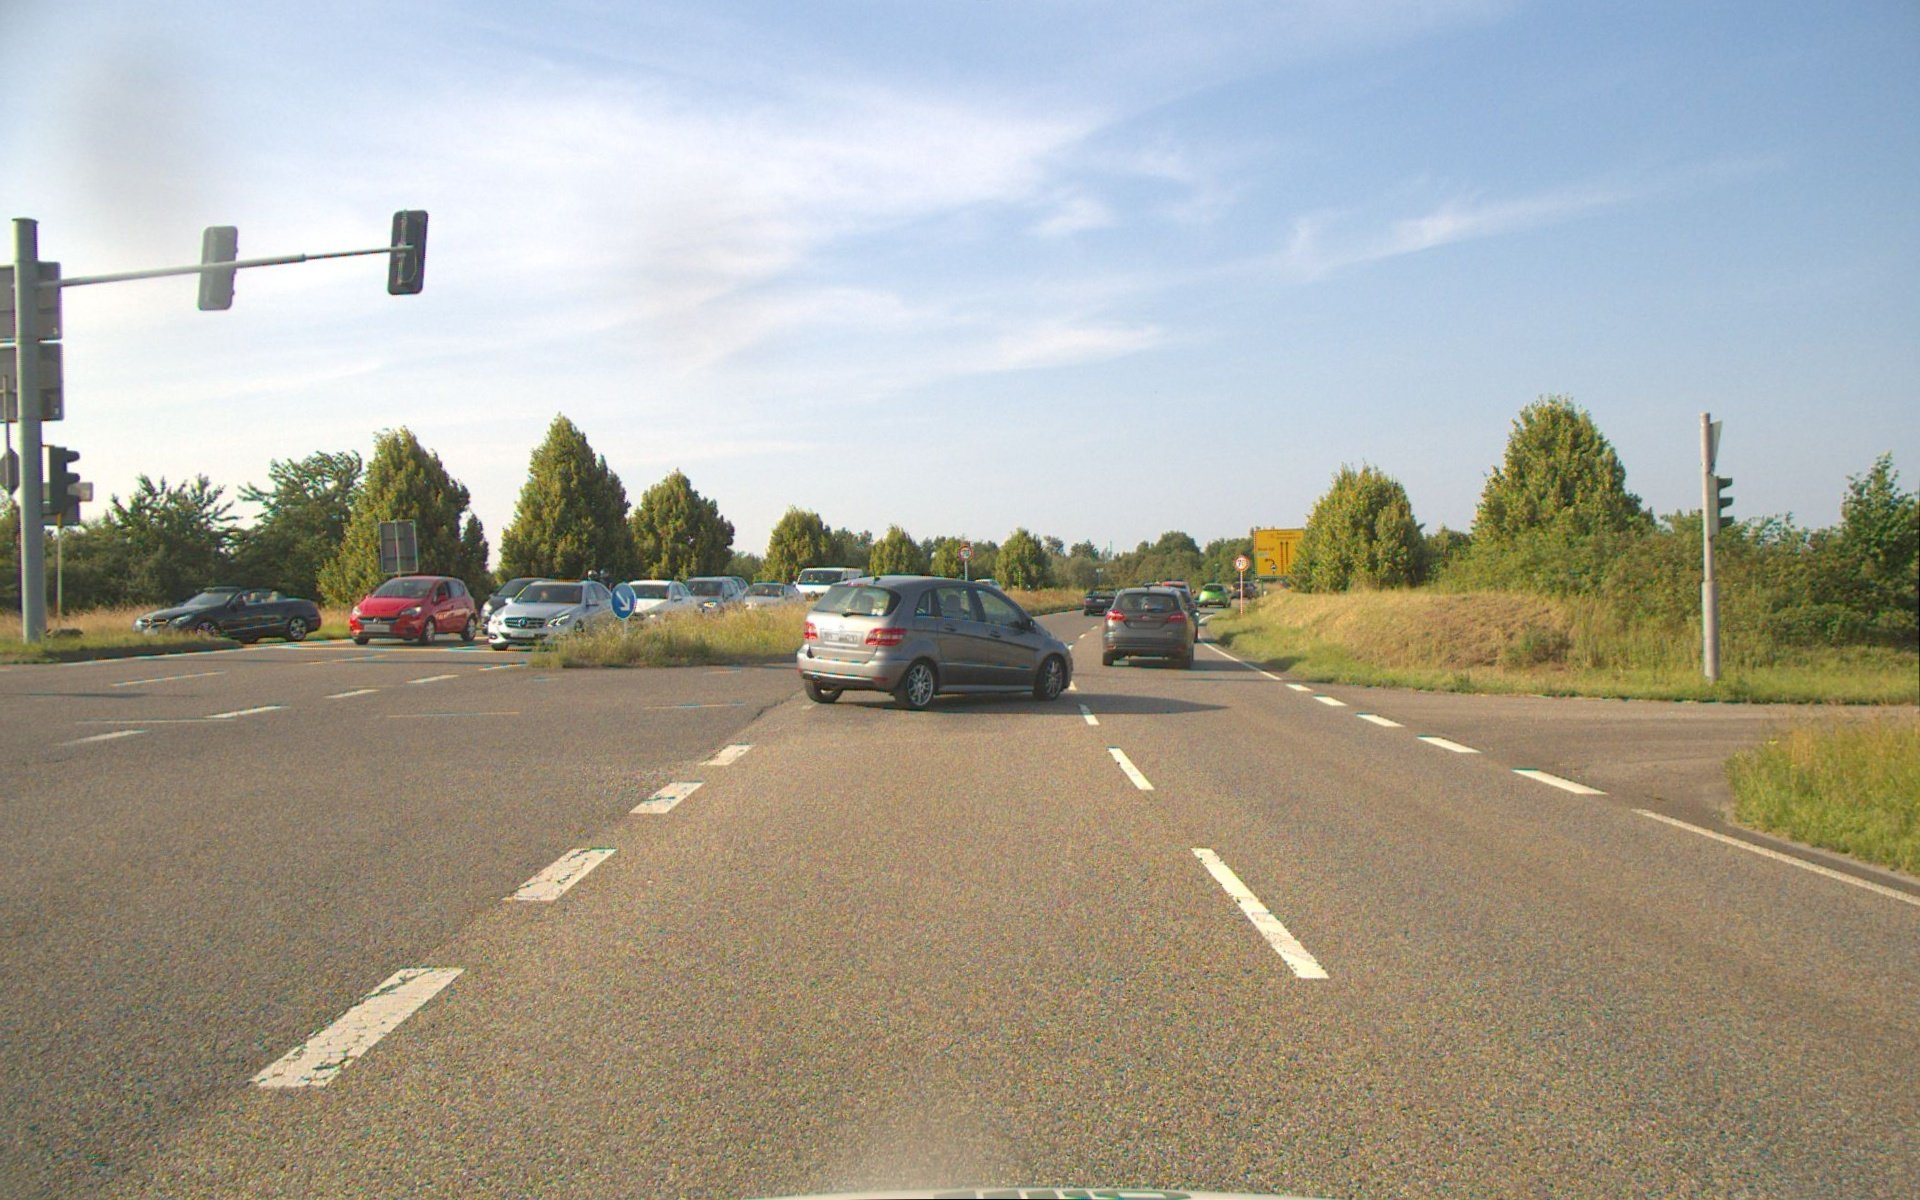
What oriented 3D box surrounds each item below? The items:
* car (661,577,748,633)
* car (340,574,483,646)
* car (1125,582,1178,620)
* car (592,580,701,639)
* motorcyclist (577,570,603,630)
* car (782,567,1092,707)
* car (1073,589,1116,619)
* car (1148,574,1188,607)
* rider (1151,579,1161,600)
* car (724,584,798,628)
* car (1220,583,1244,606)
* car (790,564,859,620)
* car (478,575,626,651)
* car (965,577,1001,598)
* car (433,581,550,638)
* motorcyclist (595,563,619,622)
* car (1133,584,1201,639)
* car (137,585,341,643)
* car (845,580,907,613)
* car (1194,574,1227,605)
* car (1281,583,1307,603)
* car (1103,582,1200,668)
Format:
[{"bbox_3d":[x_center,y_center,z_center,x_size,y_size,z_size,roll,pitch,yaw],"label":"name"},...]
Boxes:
[{"bbox_3d":[-7.592,0.128,49.485,1.748,1.596,4.053,-1,0,4],"label":"car"},{"bbox_3d":[-12.241,0.203,37.145,1.684,1.514,3.806,-1,0,4],"label":"car"},{"bbox_3d":[7.516,0.062,65.121,1.874,1.440,3.797,0,-1,4],"label":"car"},{"bbox_3d":[-8.114,0.224,43.170,1.748,1.458,4.311,-1,0,4],"label":"car"},{"bbox_3d":[-10.966,0.003,49.065,0.649,1.778,0.605,0,0,-4],"label":"motorcyclist"},{"bbox_3d":[-0.197,0.472,21.467,1.757,1.633,4.174,0,-1,40],"label":"car"},{"bbox_3d":[6.325,0.191,77.450,1.868,1.346,4.281,0,-1,7],"label":"car"},{"bbox_3d":[10.724,-0.449,85.001,1.855,1.592,4.281,0,-1,10],"label":"car"},{"bbox_3d":[19.266,-0.984,162.263,0.849,2.049,0.772,0,0,15],"label":"rider"},{"bbox_3d":[-6.664,0.178,55.698,1.748,1.410,4.053,-1,0,4],"label":"car"},{"bbox_3d":[22.302,-0.422,135.479,1.868,1.765,4.281,0,-1,10],"label":"car"},{"bbox_3d":[-5.294,-0.314,65.063,1.884,2.114,4.246,-1,0,7],"label":"car"},{"bbox_3d":[-8.666,0.244,35.514,1.748,1.514,4.653,-1,0,4],"label":"car"},{"bbox_3d":[1.651,-0.895,118.665,1.748,1.410,4.055,-1,0,13],"label":"car"},{"bbox_3d":[-12.489,0.228,44.311,1.748,1.458,4.053,-1,0,4],"label":"car"},{"bbox_3d":[-11.150,-0.233,52.285,0.649,1.848,0.605,0,0,-4],"label":"motorcyclist"},{"bbox_3d":[5.999,0.303,47.556,1.735,1.518,3.988,0,0,10],"label":"car"},{"bbox_3d":[-17.162,0.296,39.627,1.685,1.304,4.664,0,0,21],"label":"car"},{"bbox_3d":[-3.729,-0.172,74.505,1.748,1.410,4.055,-1,0,13],"label":"car"},{"bbox_3d":[15.567,-0.641,102.904,1.868,1.831,4.281,0,-1,7],"label":"car"},{"bbox_3d":[30.442,-0.601,150.791,1.868,1.765,4.280,0,-1,5],"label":"car"},{"bbox_3d":[3.881,0.460,32.971,1.771,1.593,4.535,0,0,9],"label":"car"}]
